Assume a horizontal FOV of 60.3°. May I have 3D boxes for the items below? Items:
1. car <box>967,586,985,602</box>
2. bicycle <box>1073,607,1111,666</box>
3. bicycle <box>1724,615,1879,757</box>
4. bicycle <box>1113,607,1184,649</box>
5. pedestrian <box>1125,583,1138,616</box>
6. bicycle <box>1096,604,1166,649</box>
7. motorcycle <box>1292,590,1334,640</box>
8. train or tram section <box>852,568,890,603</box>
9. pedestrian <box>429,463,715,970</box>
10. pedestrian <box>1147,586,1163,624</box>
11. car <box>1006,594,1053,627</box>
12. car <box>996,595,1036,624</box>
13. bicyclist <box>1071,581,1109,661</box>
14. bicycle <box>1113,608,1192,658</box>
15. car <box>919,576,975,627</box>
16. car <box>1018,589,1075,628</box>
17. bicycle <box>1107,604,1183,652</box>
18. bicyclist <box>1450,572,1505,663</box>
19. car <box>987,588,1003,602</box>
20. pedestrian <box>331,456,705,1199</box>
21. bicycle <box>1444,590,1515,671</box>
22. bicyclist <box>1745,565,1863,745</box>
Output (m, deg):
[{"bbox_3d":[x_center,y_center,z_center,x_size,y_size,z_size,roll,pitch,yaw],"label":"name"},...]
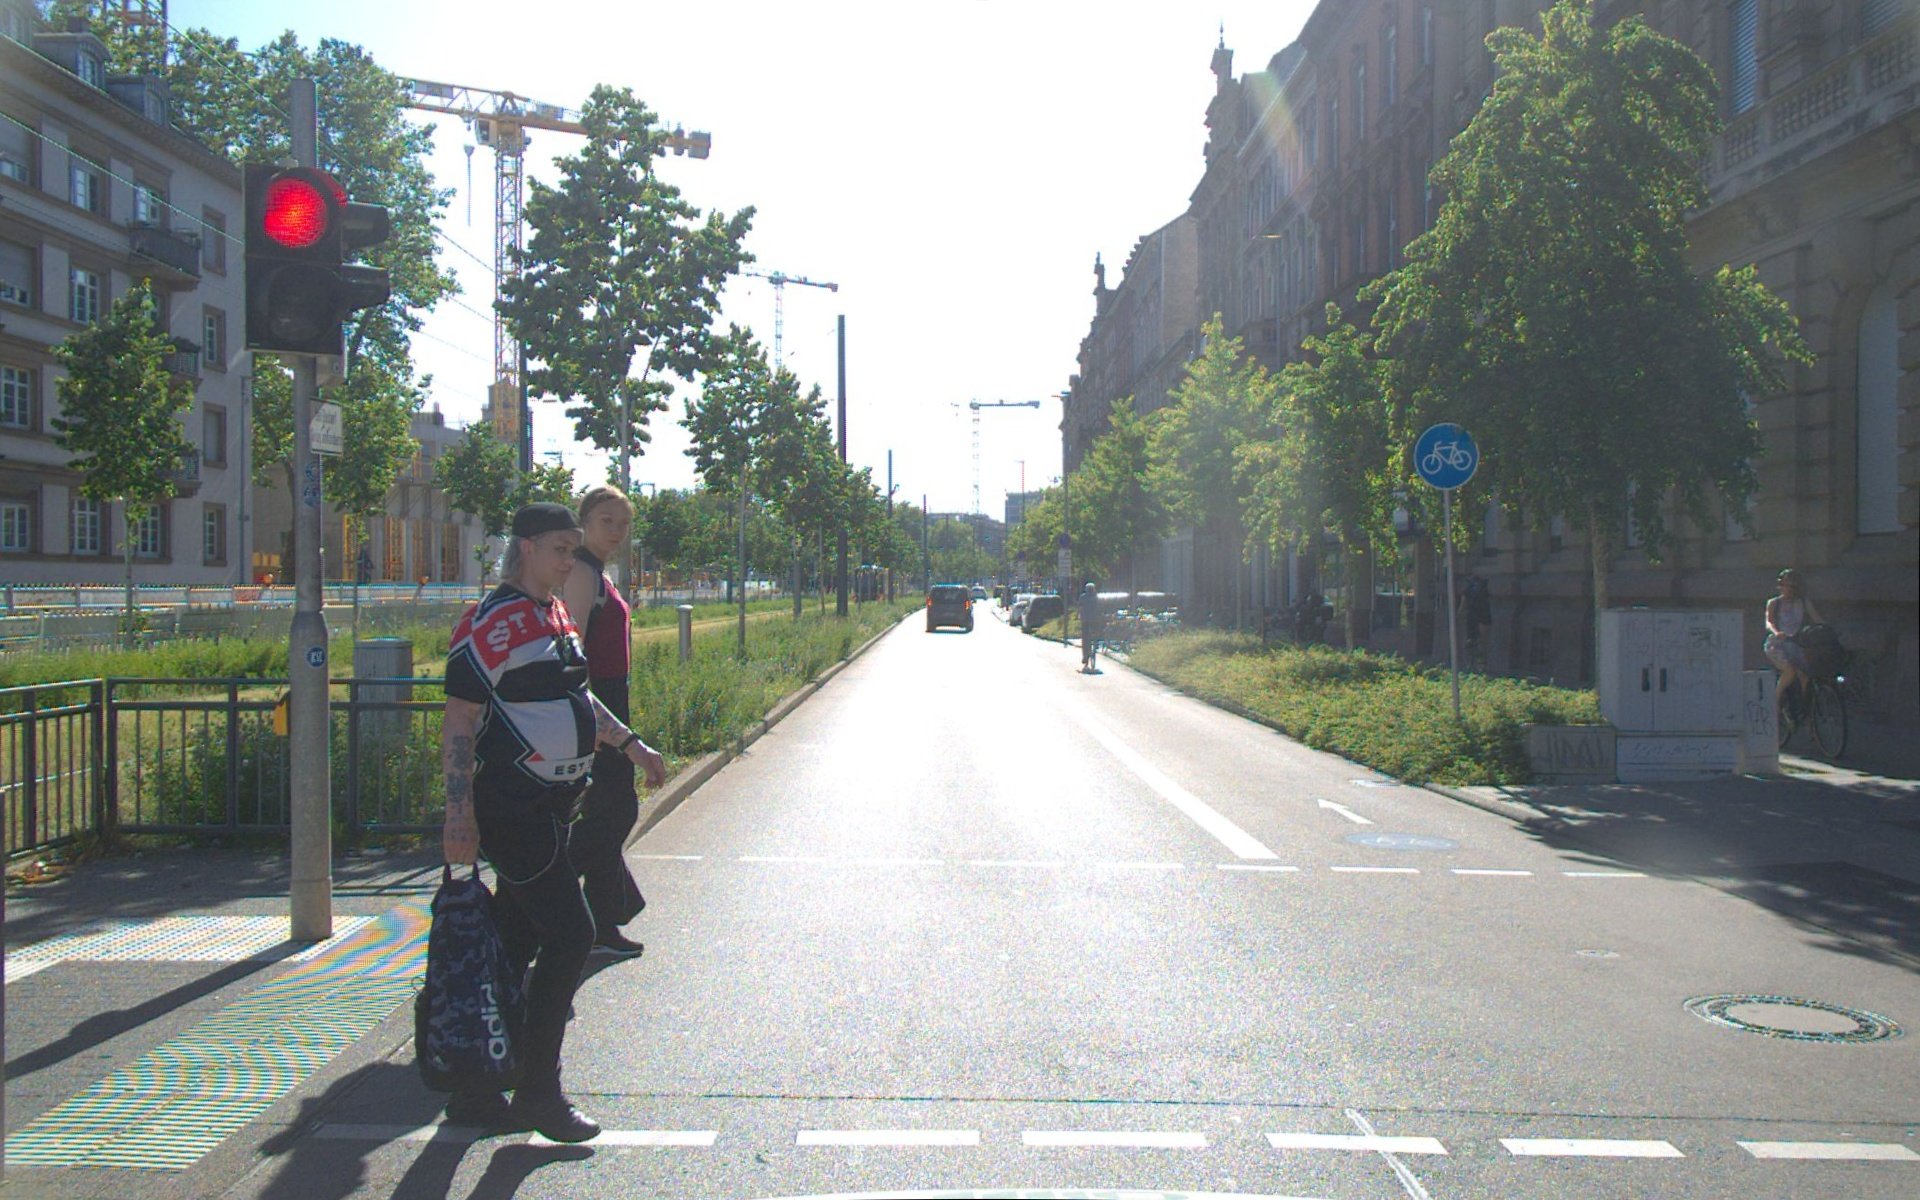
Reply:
[{"bbox_3d":[1.899,-0.709,194.659,1.953,1.759,3.999,1,0,-1],"label":"car"},{"bbox_3d":[2.824,0.763,35.628,0.589,1.201,1.869,2,0,-1],"label":"bicycle"},{"bbox_3d":[8.050,0.790,15.908,0.571,1.244,1.900,0,0,2],"label":"bicycle"},{"bbox_3d":[4.840,0.724,42.534,1.756,1.048,0.527,0,0,-1],"label":"bicycle"},{"bbox_3d":[8.576,-0.041,82.744,0.601,1.640,0.669,0,0,-1],"label":"pedestrian"},{"bbox_3d":[4.539,0.711,43.953,1.756,1.048,0.527,-4,0,-1],"label":"bicycle"},{"bbox_3d":[9.445,0.385,44.294,0.686,1.289,1.981,0,0,-1],"label":"motorcycle"},{"bbox_3d":[-7.630,-1.222,143.433,2.699,2.790,9.863,1,0,0],"label":"train or tram section"},{"bbox_3d":[-1.545,0.441,6.731,1.055,1.942,0.652,0,0,-7],"label":"pedestrian"},{"bbox_3d":[8.447,0.211,71.629,0.601,1.640,0.669,0,0,-1],"label":"pedestrian"},{"bbox_3d":[3.342,0.478,79.816,1.987,1.525,4.529,0,0,-1],"label":"car"},{"bbox_3d":[3.096,0.517,92.340,1.987,1.525,4.529,0,0,-1],"label":"car"},{"bbox_3d":[2.813,0.442,35.798,0.670,1.702,0.922,2,0,-2],"label":"bicyclist"},{"bbox_3d":[4.604,0.791,39.648,1.756,1.048,0.527,-4,0,-1],"label":"bicycle"},{"bbox_3d":[-0.544,0.055,66.442,2.155,1.960,4.653,0,0,-1],"label":"car"},{"bbox_3d":[3.477,0.340,67.485,1.987,1.525,4.653,0,0,-1],"label":"car"},{"bbox_3d":[4.572,0.696,41.021,1.756,1.048,0.527,-4,0,-1],"label":"bicycle"},{"bbox_3d":[9.287,0.303,29.715,0.647,1.556,0.801,-4,0,0],"label":"bicyclist"},{"bbox_3d":[4.731,-0.690,225.802,1.953,1.870,3.999,1,0,-1],"label":"car"},{"bbox_3d":[-1.163,0.559,4.583,0.848,1.819,0.969,1,0,-7],"label":"pedestrian"},{"bbox_3d":[9.330,0.533,29.776,0.603,1.353,1.900,-4,0,1],"label":"bicycle"},{"bbox_3d":[8.052,0.507,15.808,0.652,1.668,0.961,0,0,2],"label":"bicyclist"}]
